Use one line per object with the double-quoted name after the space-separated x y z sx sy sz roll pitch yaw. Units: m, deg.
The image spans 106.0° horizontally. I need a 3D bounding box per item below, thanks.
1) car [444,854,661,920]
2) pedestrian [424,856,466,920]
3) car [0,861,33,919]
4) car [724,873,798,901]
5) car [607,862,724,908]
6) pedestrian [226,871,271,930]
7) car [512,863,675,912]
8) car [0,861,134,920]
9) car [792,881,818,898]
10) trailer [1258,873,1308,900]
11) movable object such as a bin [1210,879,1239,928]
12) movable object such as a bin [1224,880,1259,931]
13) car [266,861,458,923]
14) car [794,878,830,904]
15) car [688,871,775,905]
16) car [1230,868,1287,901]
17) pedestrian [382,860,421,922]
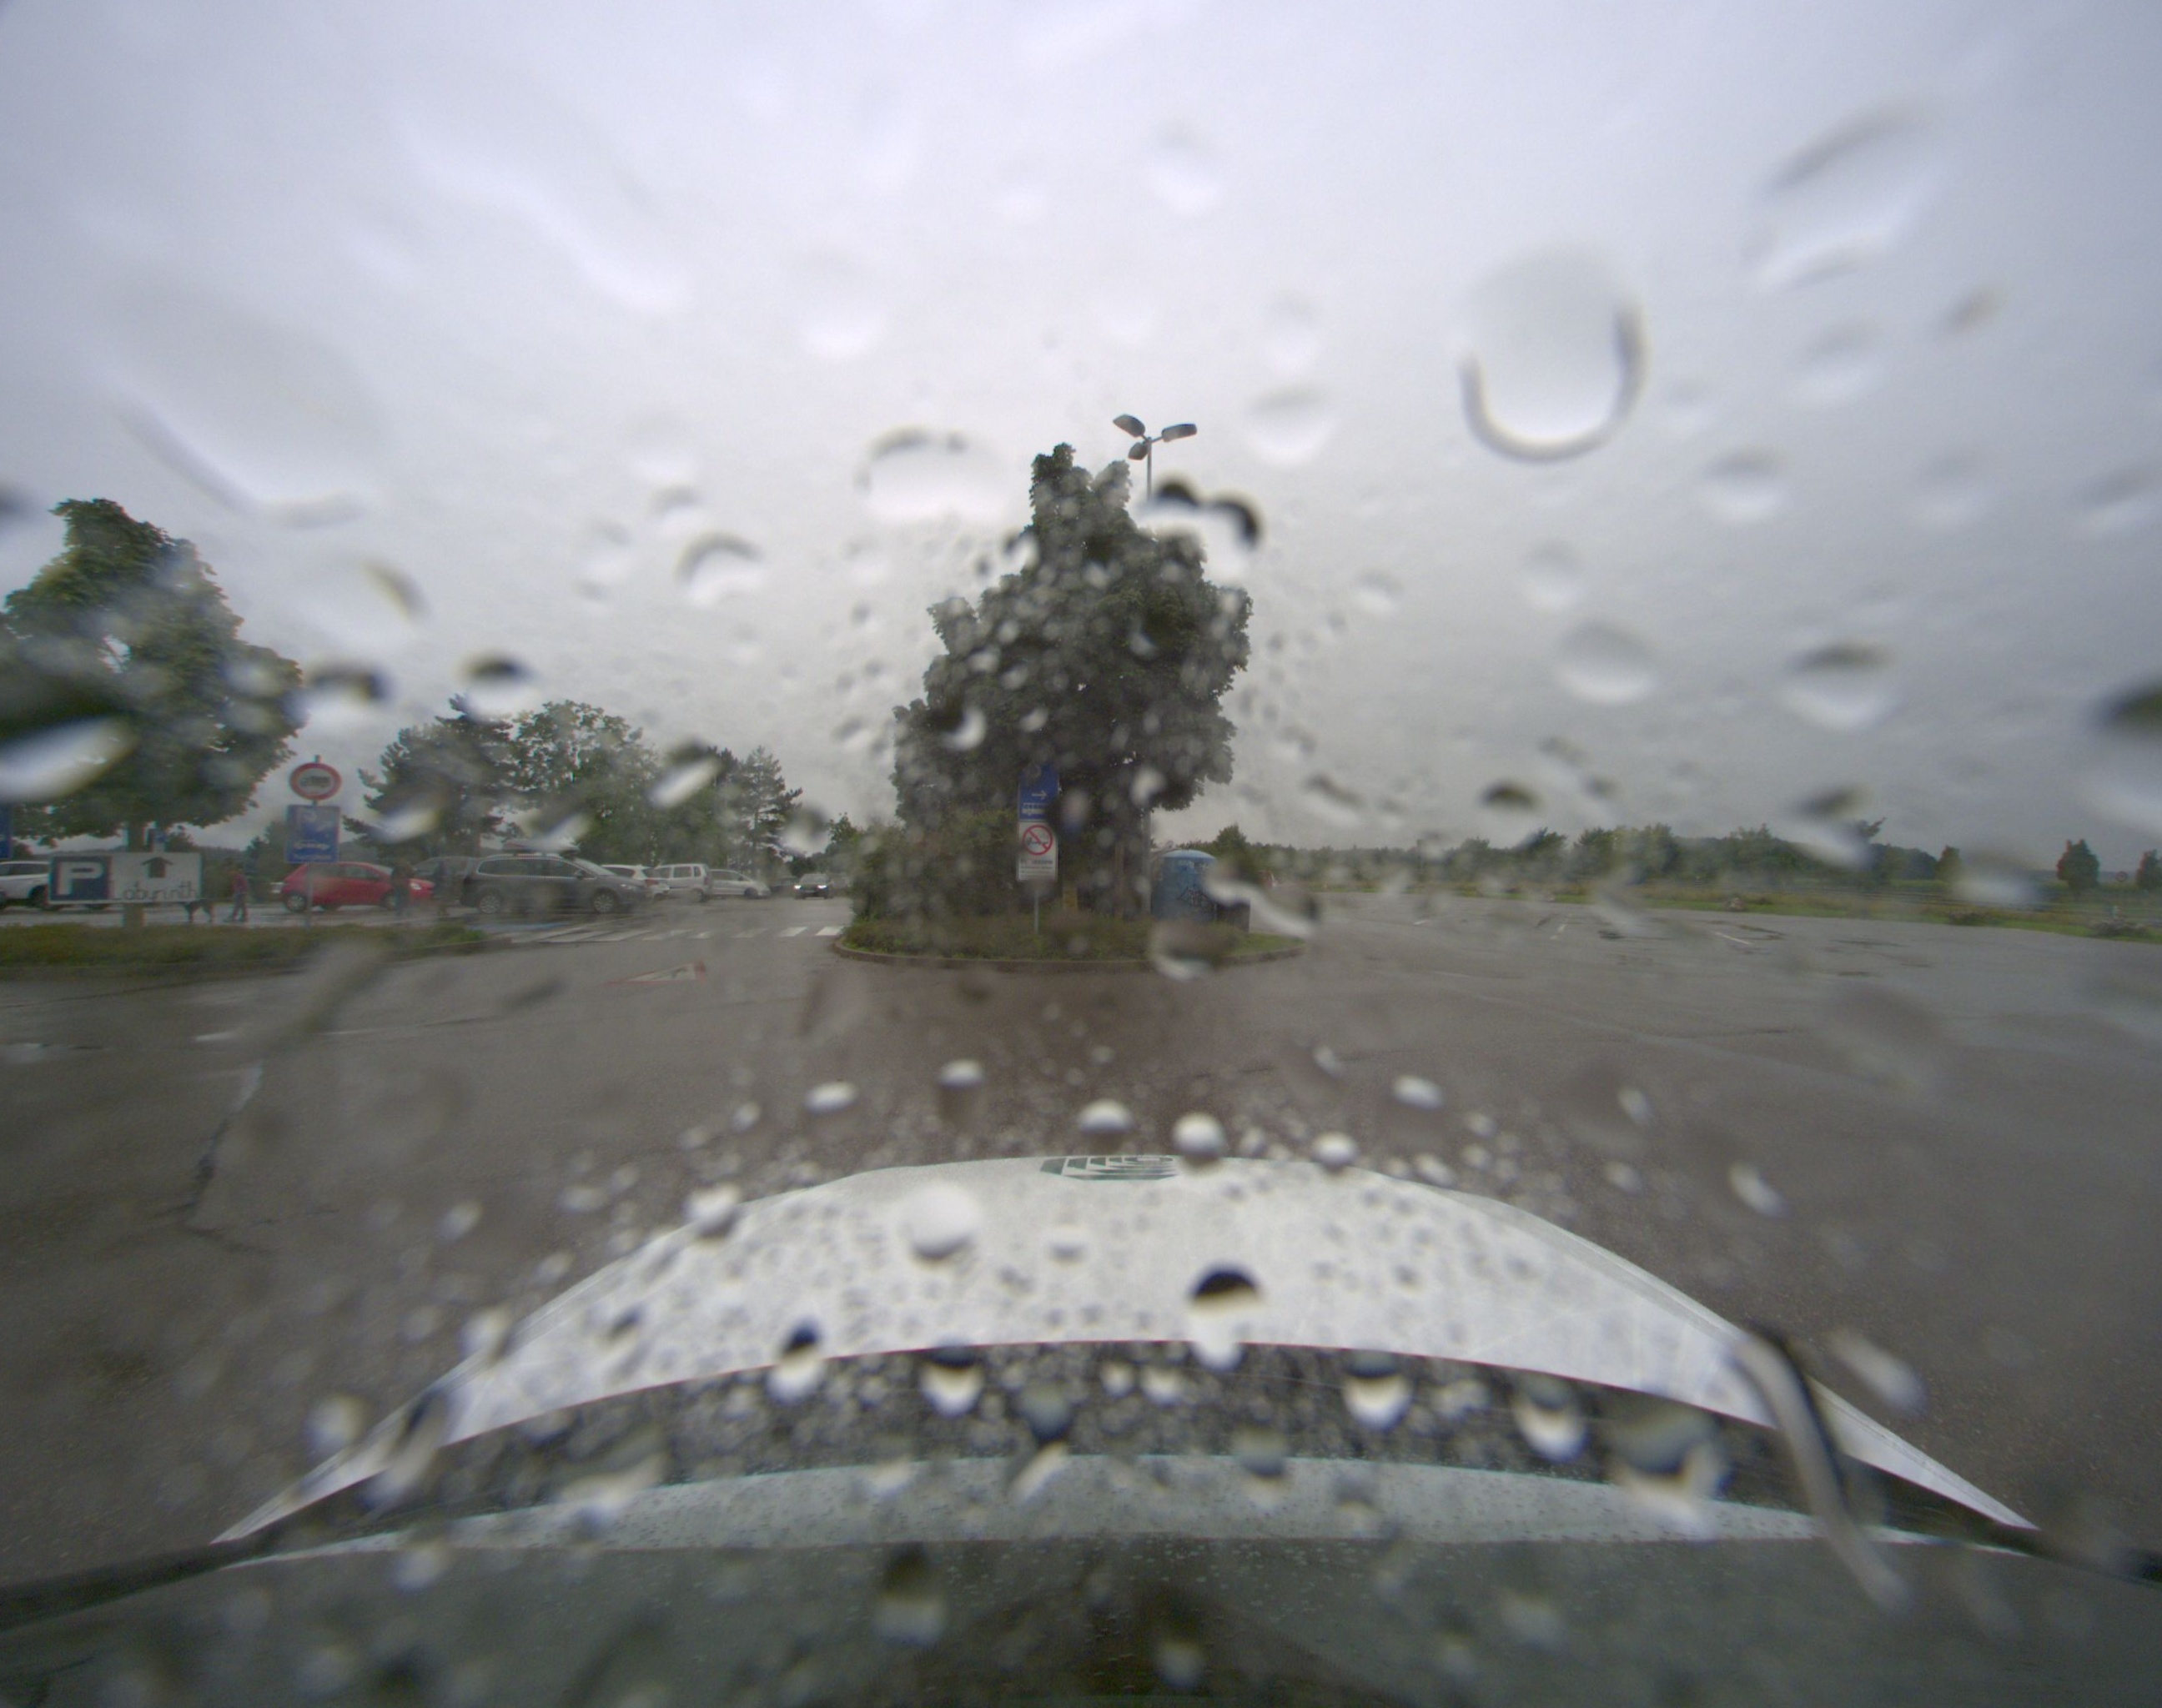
-15.368 0.919 24.010 4.941 1.792 1.991 0 0 -14 "car"
-17.402 0.924 22.293 0.683 1.725 0.607 1 -3 -18 "pedestrian"
-34.122 1.070 23.789 4.018 1.716 1.712 0 -3 -14 "car"
-21.667 2.209 55.296 4.360 1.862 1.842 1 -2 -14 "car"
-17.446 1.300 34.378 4.015 1.862 1.842 0 -3 -14 "car"
-19.818 1.109 19.390 0.446 1.362 0.649 -3 -4 36 "pedestrian"
-15.782 1.057 26.570 4.187 1.517 1.736 0 0 -12 "car"
-34.469 1.192 26.574 4.360 1.862 1.712 0 -3 -14 "car"
-22.580 2.924 66.716 1.647 1.370 3.794 1 -3 -14 "car"
12.319 1.952 49.533 1.678 1.533 4.025 -1 -2 34 "trailer"
2.861 0.975 16.218 0.400 0.949 0.453 1 -1 31 "movable object such as a bin"
3.095 0.978 15.729 0.475 0.949 0.430 2 -1 -36 "movable object such as a bin"
-22.146 1.137 25.269 4.015 1.792 1.842 0 0 -14 "car"
-15.126 2.102 45.905 1.647 1.370 3.979 1 -3 -14 "car"
-20.212 1.951 47.291 4.360 1.862 1.842 0 -3 -14 "car"
10.092 1.729 46.148 1.804 1.777 4.025 -1 -3 34 "car"
-18.314 0.992 21.966 0.719 1.639 0.639 1 -3 -35 "pedestrian"
